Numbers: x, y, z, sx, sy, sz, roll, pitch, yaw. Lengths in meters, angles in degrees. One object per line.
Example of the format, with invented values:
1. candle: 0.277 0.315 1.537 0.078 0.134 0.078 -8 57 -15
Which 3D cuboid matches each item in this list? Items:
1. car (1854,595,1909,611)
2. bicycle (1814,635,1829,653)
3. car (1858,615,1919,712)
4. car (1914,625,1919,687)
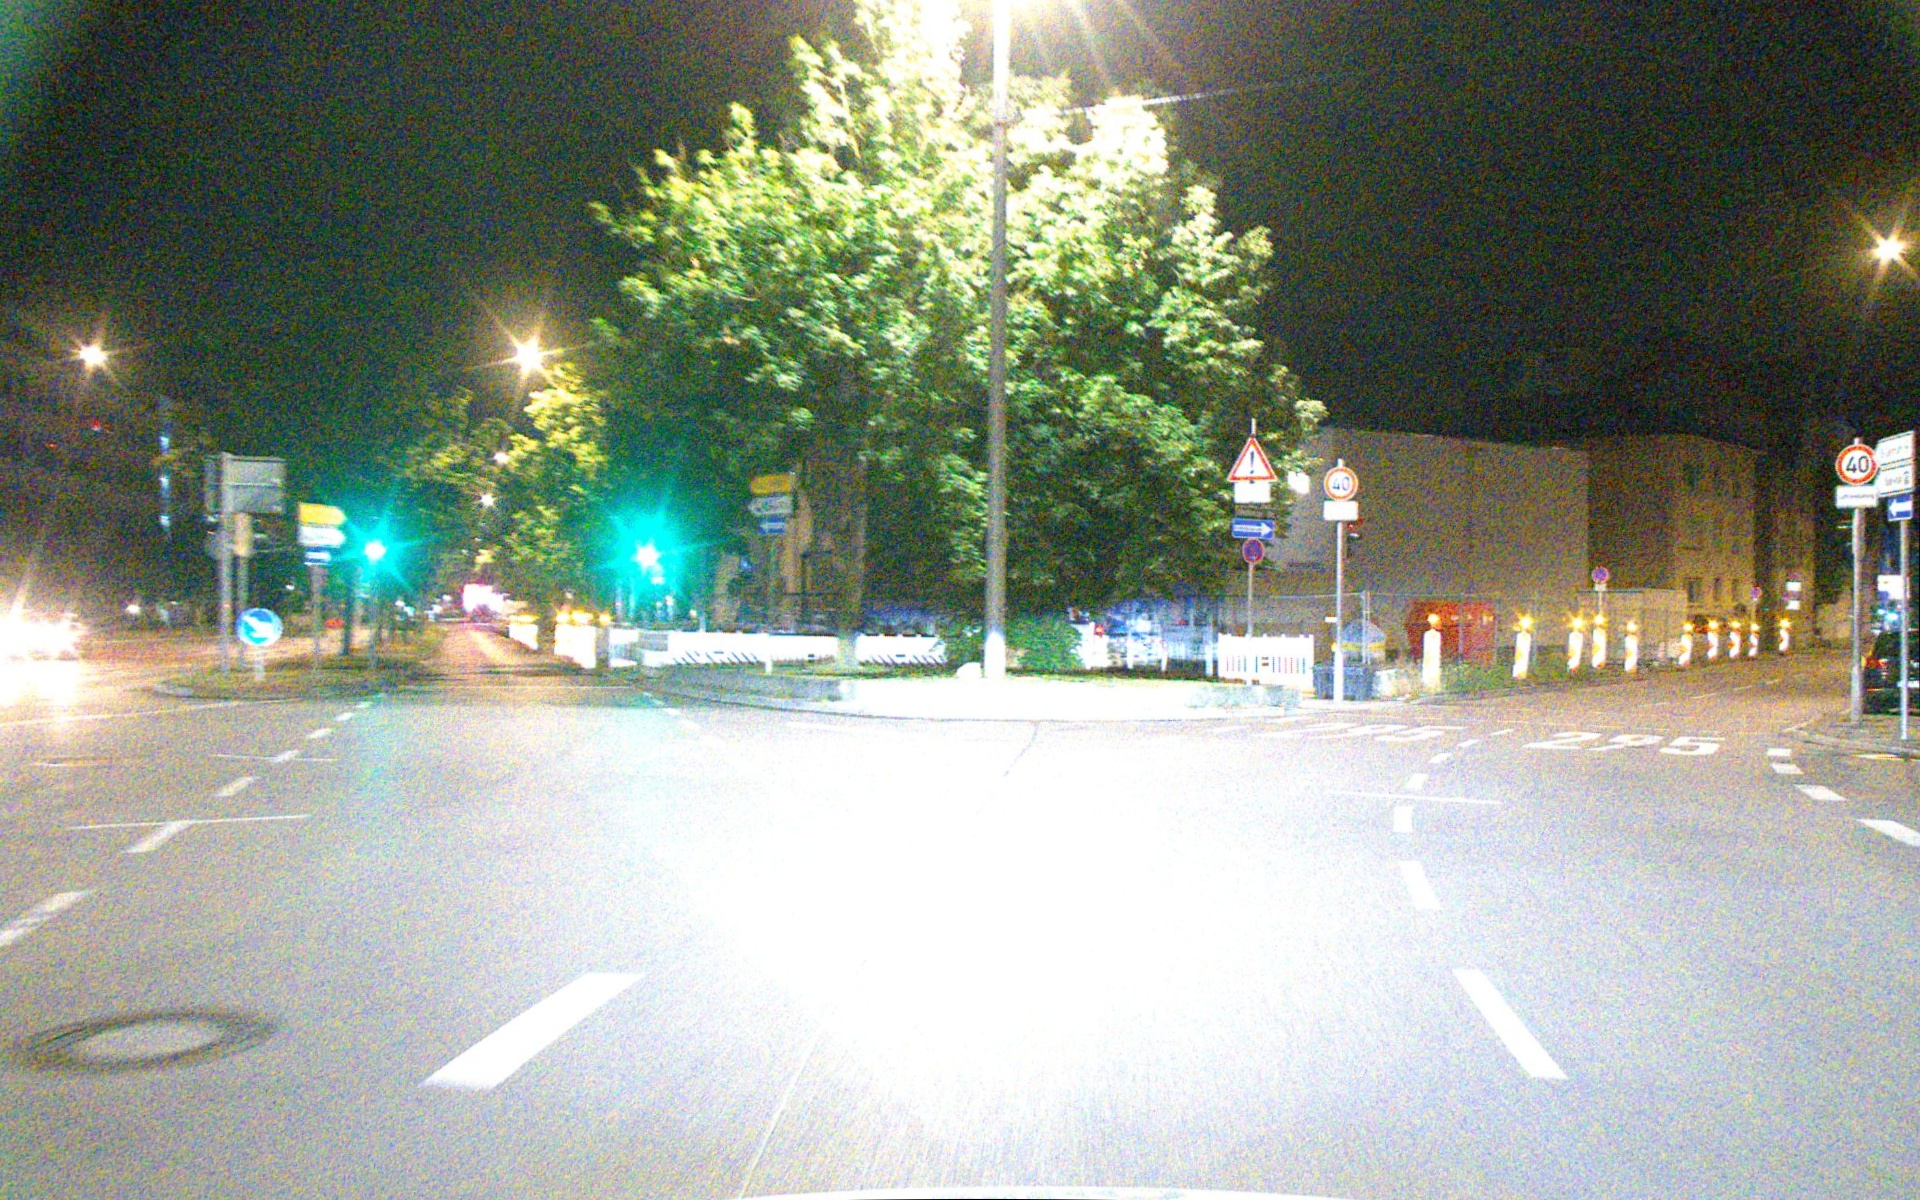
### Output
1. car: 86.536 0.261 155.369 4.361 1.475 1.994 1 -1 34
2. bicycle: 52.783 2.695 101.340 0.608 1.070 1.716 0 -1 34
3. car: 17.971 1.160 30.965 1.713 1.712 4.246 -2 -2 33
4. car: 26.594 1.470 44.164 1.713 1.593 4.198 -2 -2 33
